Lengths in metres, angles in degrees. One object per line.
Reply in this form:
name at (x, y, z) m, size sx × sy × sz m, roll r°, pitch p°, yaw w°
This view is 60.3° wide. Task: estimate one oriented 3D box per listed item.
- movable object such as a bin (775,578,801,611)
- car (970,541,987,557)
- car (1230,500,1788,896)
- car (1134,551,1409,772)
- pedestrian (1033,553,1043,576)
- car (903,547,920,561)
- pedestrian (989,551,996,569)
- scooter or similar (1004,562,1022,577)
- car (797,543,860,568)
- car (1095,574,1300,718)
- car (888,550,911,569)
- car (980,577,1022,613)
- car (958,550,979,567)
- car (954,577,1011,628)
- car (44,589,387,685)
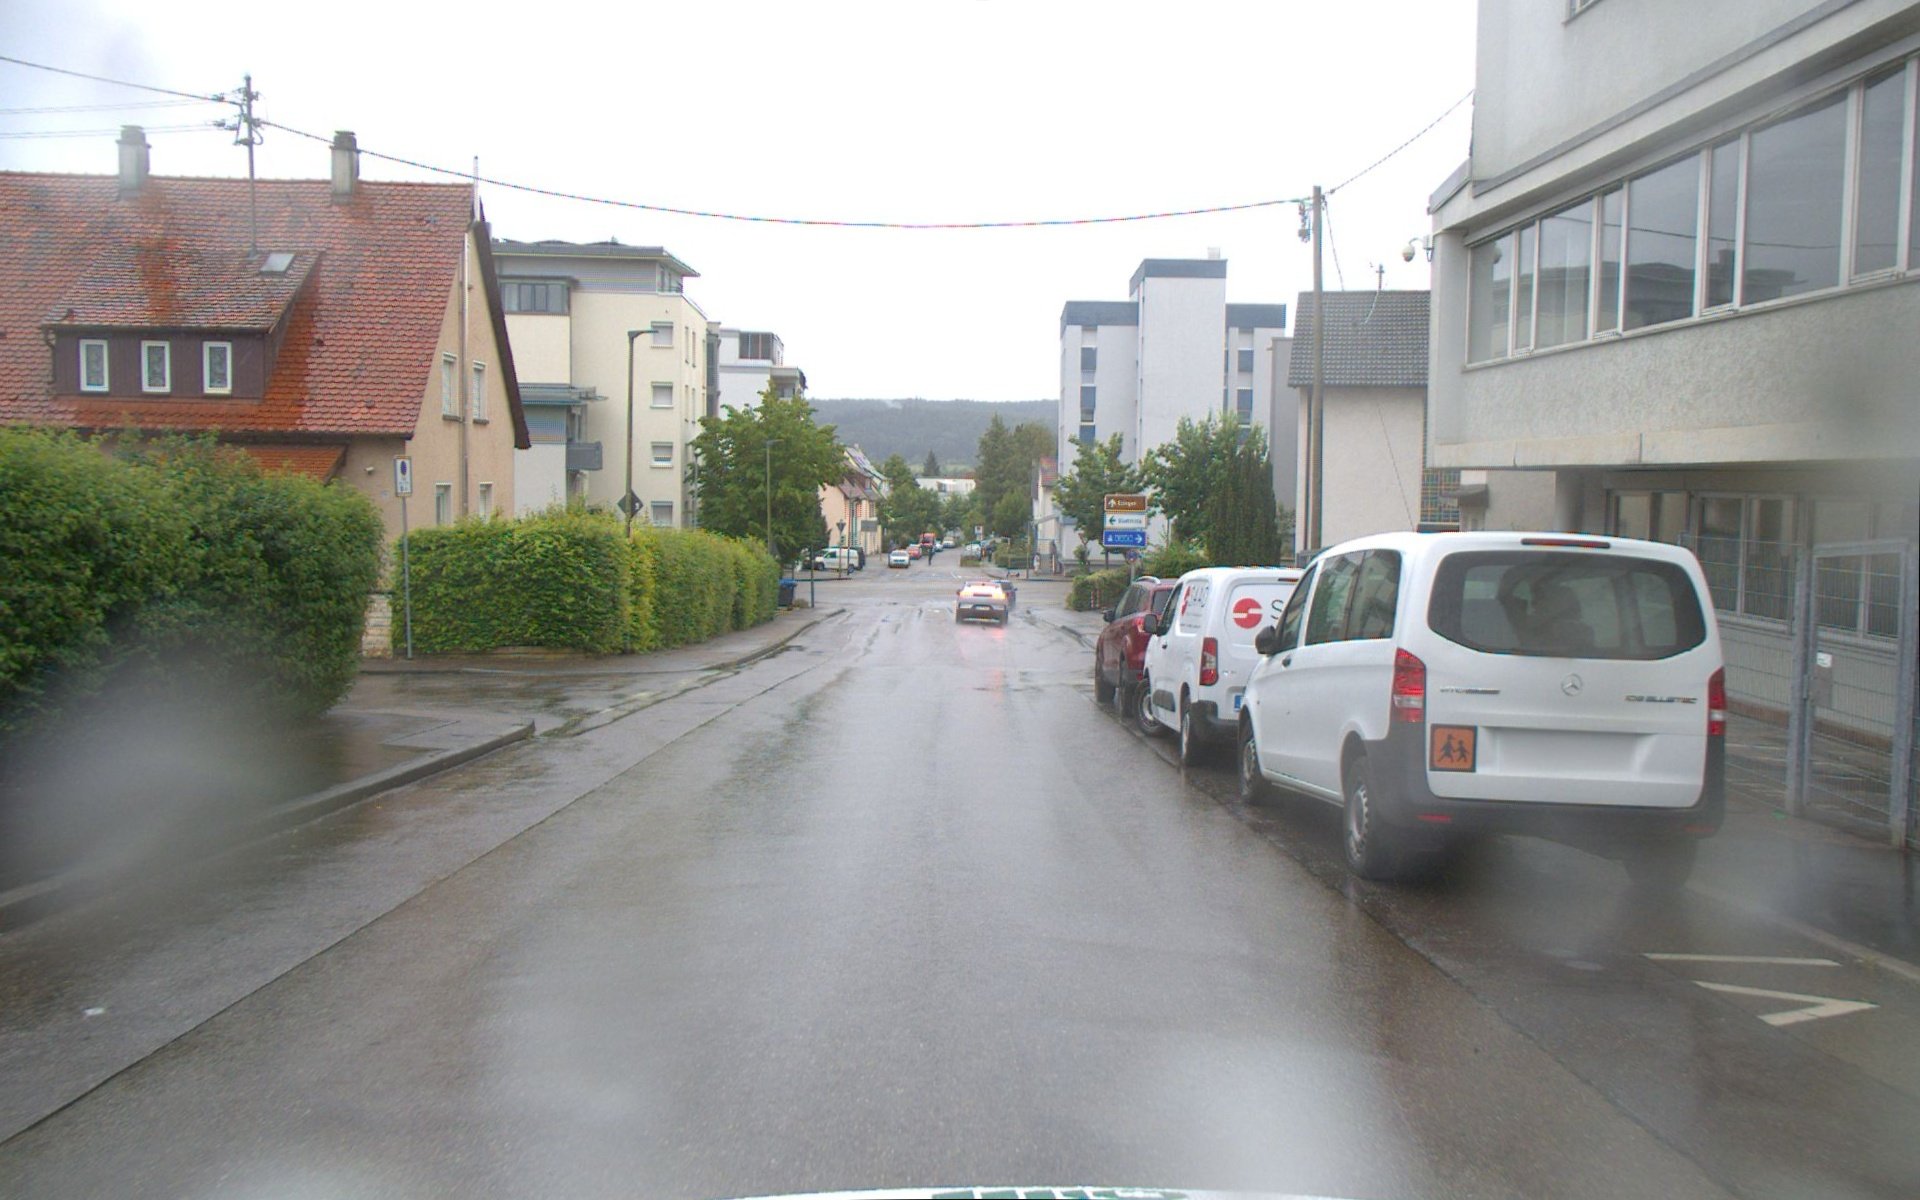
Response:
movable object such as a bin at (-7.549, -0.252, 72.651) m, size 1.050 × 1.371 × 1.318 m, roll 2°, pitch 1°, yaw -3°
car at (2.062, -5.807, 188.626) m, size 1.862 × 1.775 × 4.192 m, roll -1°, pitch 2°, yaw 0°
car at (3.153, 0.461, 10.760) m, size 1.953 × 1.968 × 4.976 m, roll 0°, pitch 1°, yaw 0°
car at (2.891, 0.497, 16.333) m, size 1.840 × 1.865 × 4.489 m, roll 0°, pitch 1°, yaw 0°
pedestrian at (5.909, -2.701, 125.096) m, size 0.635 × 1.675 × 0.525 m, roll 3°, pitch 1°, yaw -7°
car at (-5.546, -5.276, 189.394) m, size 1.862 × 1.585 × 4.192 m, roll -1°, pitch 2°, yaw 0°
pedestrian at (3.431, -4.238, 175.052) m, size 0.730 × 1.881 × 0.526 m, roll 0°, pitch 0°, yaw 3°
scooter or similar at (3.971, -2.309, 123.749) m, size 1.243 × 1.100 × 0.876 m, roll -1°, pitch 2°, yaw -5°
car at (-10.532, -3.585, 132.454) m, size 4.797 × 1.867 × 1.972 m, roll -2°, pitch 3°, yaw -39°
car at (2.971, 0.505, 21.765) m, size 1.953 × 1.673 × 4.958 m, roll 0°, pitch 1°, yaw 0°
car at (-5.562, -3.738, 152.952) m, size 1.953 × 1.654 × 4.192 m, roll -1°, pitch 2°, yaw 0°
car at (2.148, -0.278, 88.089) m, size 1.953 × 1.713 × 3.999 m, roll -1°, pitch 2°, yaw -2°
car at (0.873, -4.191, 166.664) m, size 2.102 × 1.616 × 4.129 m, roll -1°, pitch 2°, yaw 0°
car at (0.814, 0.061, 62.405) m, size 1.953 × 1.713 × 3.999 m, roll -1°, pitch 2°, yaw -2°
car at (-11.545, 0.551, 25.871) m, size 4.488 × 1.423 × 1.894 m, roll 0°, pitch 1°, yaw -1°
